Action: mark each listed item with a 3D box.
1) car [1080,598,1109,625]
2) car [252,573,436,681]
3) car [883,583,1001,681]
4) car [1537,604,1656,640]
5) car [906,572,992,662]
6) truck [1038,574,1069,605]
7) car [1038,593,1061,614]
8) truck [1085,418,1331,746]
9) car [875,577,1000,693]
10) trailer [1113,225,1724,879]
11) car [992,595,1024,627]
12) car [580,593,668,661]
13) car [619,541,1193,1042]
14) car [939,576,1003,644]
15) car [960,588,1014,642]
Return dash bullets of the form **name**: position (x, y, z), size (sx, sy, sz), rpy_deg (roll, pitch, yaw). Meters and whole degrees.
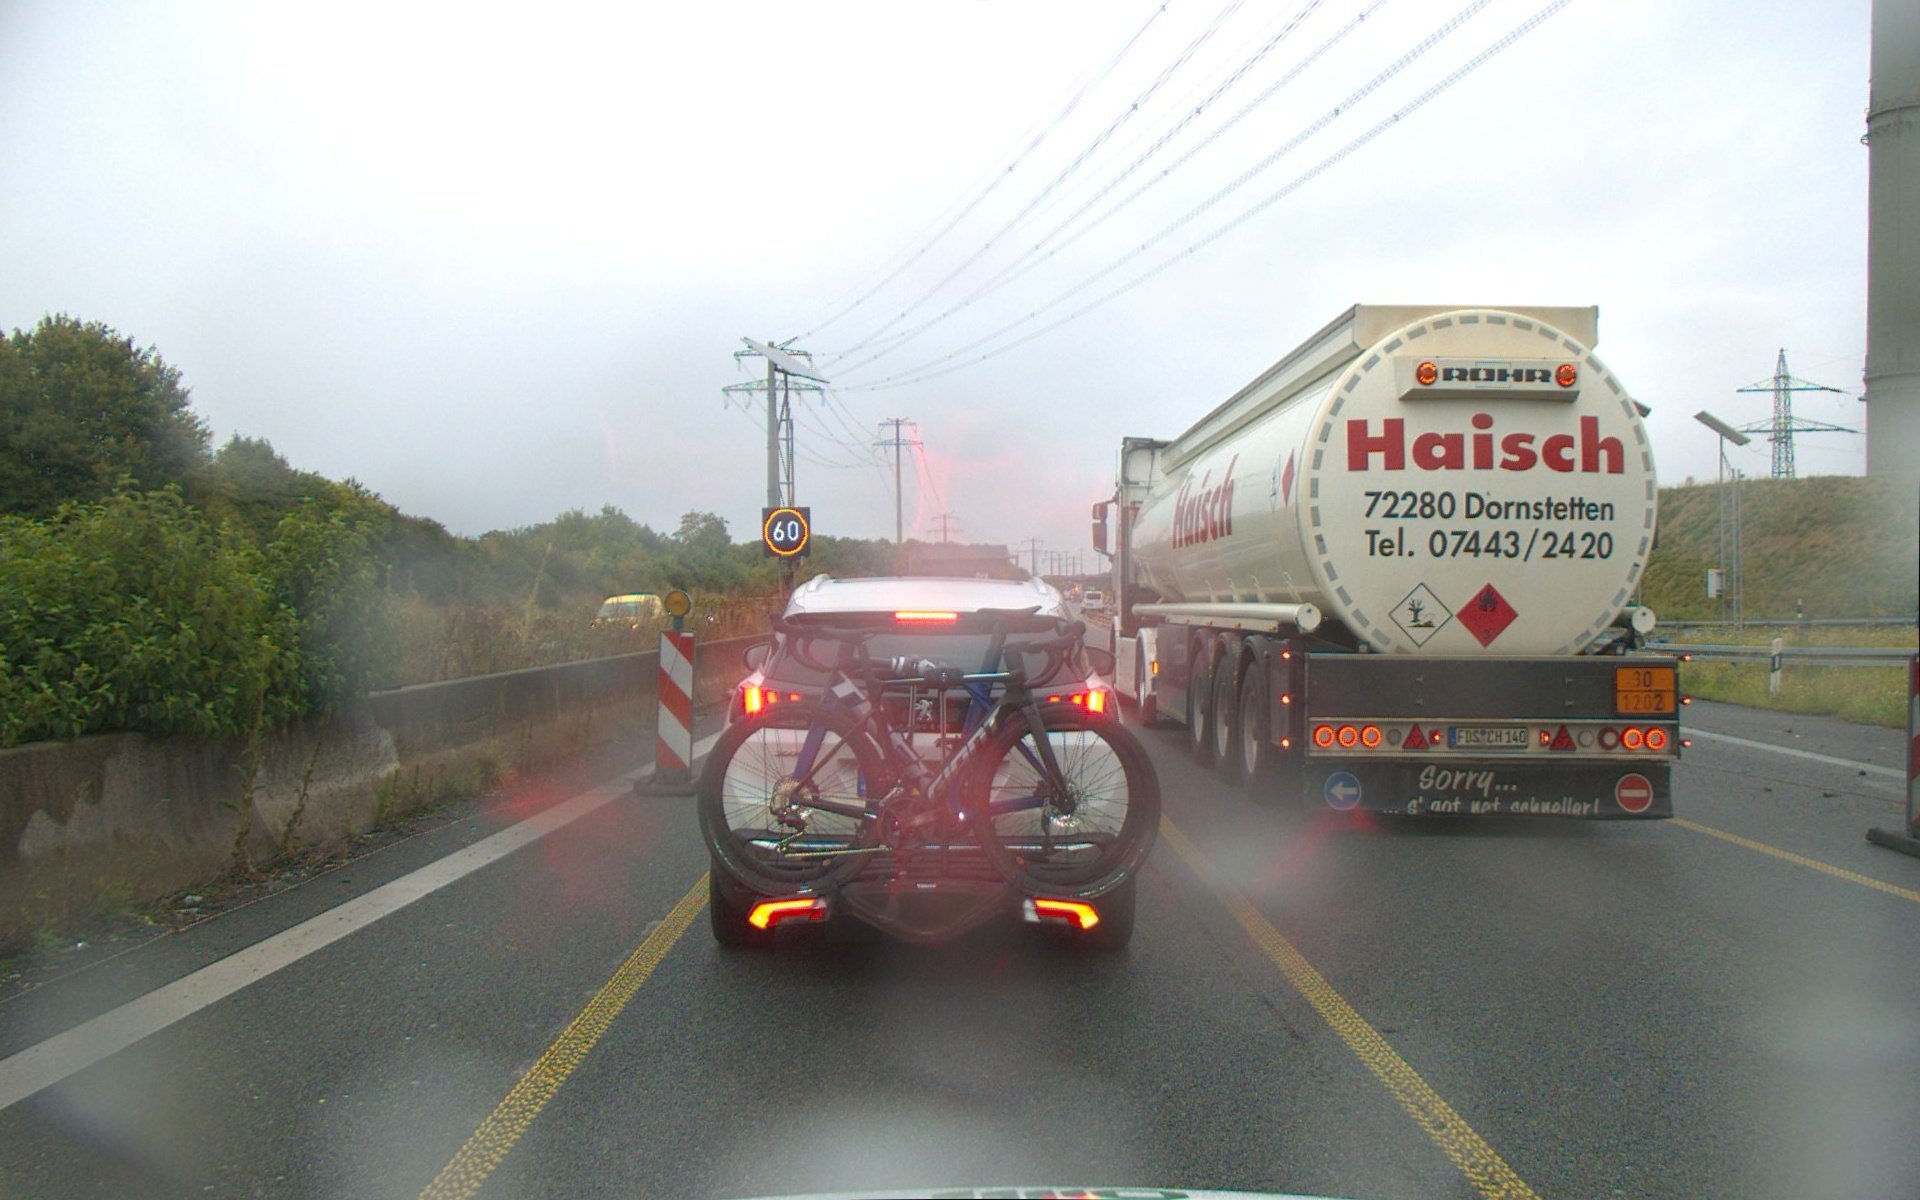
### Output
- **car**: position (10.906, 0.930, 134.511), size (1.953, 2.049, 3.999), rpy_deg (-1, 0, -1)
- **car**: position (-15.286, 0.583, 41.495), size (2.193, 2.483, 5.885), rpy_deg (-1, 1, 2)
- **car**: position (-0.331, 0.521, 29.516), size (1.953, 1.611, 3.999), rpy_deg (0, 0, -1)
- **car**: position (22.603, 0.765, 58.852), size (1.469, 1.181, 3.861), rpy_deg (-2, 1, -33)
- **car**: position (-0.271, 0.380, 40.357), size (1.953, 2.049, 3.999), rpy_deg (-1, 0, -1)
- **truck**: position (12.071, -1.278, 214.387), size (3.654, 3.889, 11.870), rpy_deg (-1, 0, 1)
- **car**: position (9.000, 0.378, 166.394), size (1.953, 2.049, 3.999), rpy_deg (1, -1, -1)
- **truck**: position (3.187, -0.203, 22.213), size (2.591, 3.959, 4.029), rpy_deg (1, -1, -1)
- **car**: position (-0.328, 0.531, 28.175), size (1.952, 1.791, 4.000), rpy_deg (-1, 0, 1)
- **trailer**: position (3.307, -0.255, 15.402), size (2.584, 3.961, 10.541), rpy_deg (1, 0, -1)
- **car**: position (3.194, 0.730, 111.588), size (1.953, 2.049, 3.999), rpy_deg (1, -1, -1)
- **car**: position (-11.206, 0.855, 55.455), size (1.953, 2.083, 4.778), rpy_deg (-1, 1, 0)
- **car**: position (-0.121, 0.624, 7.776), size (1.888, 1.639, 4.596), rpy_deg (0, 0, 1)
- **car**: position (0.311, 0.278, 53.050), size (1.953, 2.049, 3.999), rpy_deg (-1, 0, -1)
- **car**: position (1.035, 0.592, 65.272), size (1.953, 2.049, 3.999), rpy_deg (1, -1, -1)
